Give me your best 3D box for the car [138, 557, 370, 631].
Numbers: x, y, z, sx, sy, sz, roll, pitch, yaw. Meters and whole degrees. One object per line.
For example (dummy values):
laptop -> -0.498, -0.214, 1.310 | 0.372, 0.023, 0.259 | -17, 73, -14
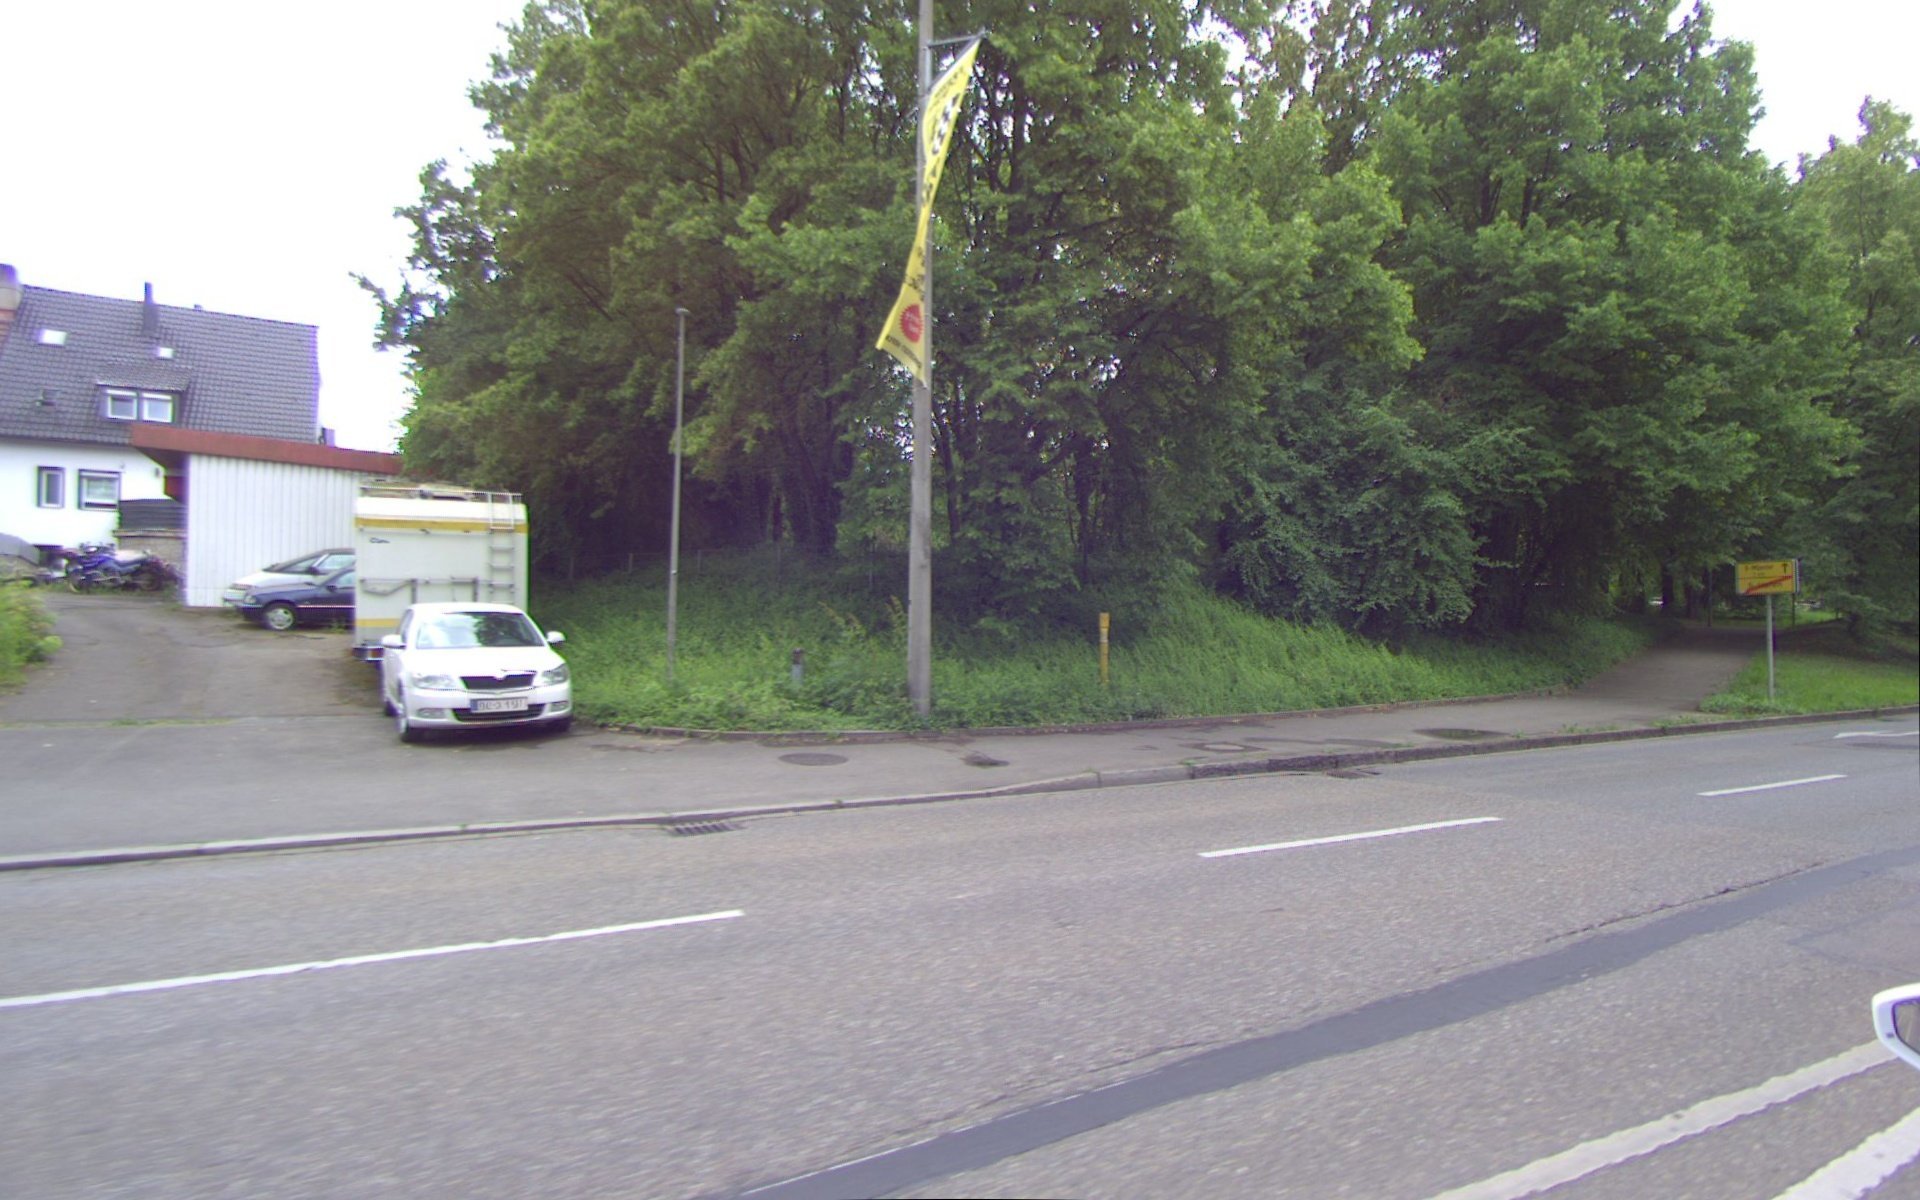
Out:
car -> -14.741, -0.109, 21.232 | 3.829, 1.364, 1.508 | 2, 2, -29

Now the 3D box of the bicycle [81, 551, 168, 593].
bicycle -> -23.968, -0.796, 28.860 | 1.798, 1.196, 0.629 | -1, 1, -27

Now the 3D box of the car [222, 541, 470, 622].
car -> -14.607, -0.396, 24.265 | 4.909, 1.711, 1.893 | 2, 0, -29

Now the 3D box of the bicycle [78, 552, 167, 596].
bicycle -> -23.436, -0.727, 28.138 | 1.798, 1.196, 0.629 | -1, 1, -27

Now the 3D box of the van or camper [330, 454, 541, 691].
van or camper -> -9.560, -0.655, 18.198 | 2.763, 3.417, 7.106 | 1, 4, -30

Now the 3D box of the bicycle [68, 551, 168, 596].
bicycle -> -22.978, -0.705, 27.450 | 1.959, 1.196, 0.629 | -1, 1, -27

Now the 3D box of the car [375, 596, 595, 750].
car -> -5.988, 0.735, 12.351 | 1.940, 1.460, 4.350 | 1, 1, -32
